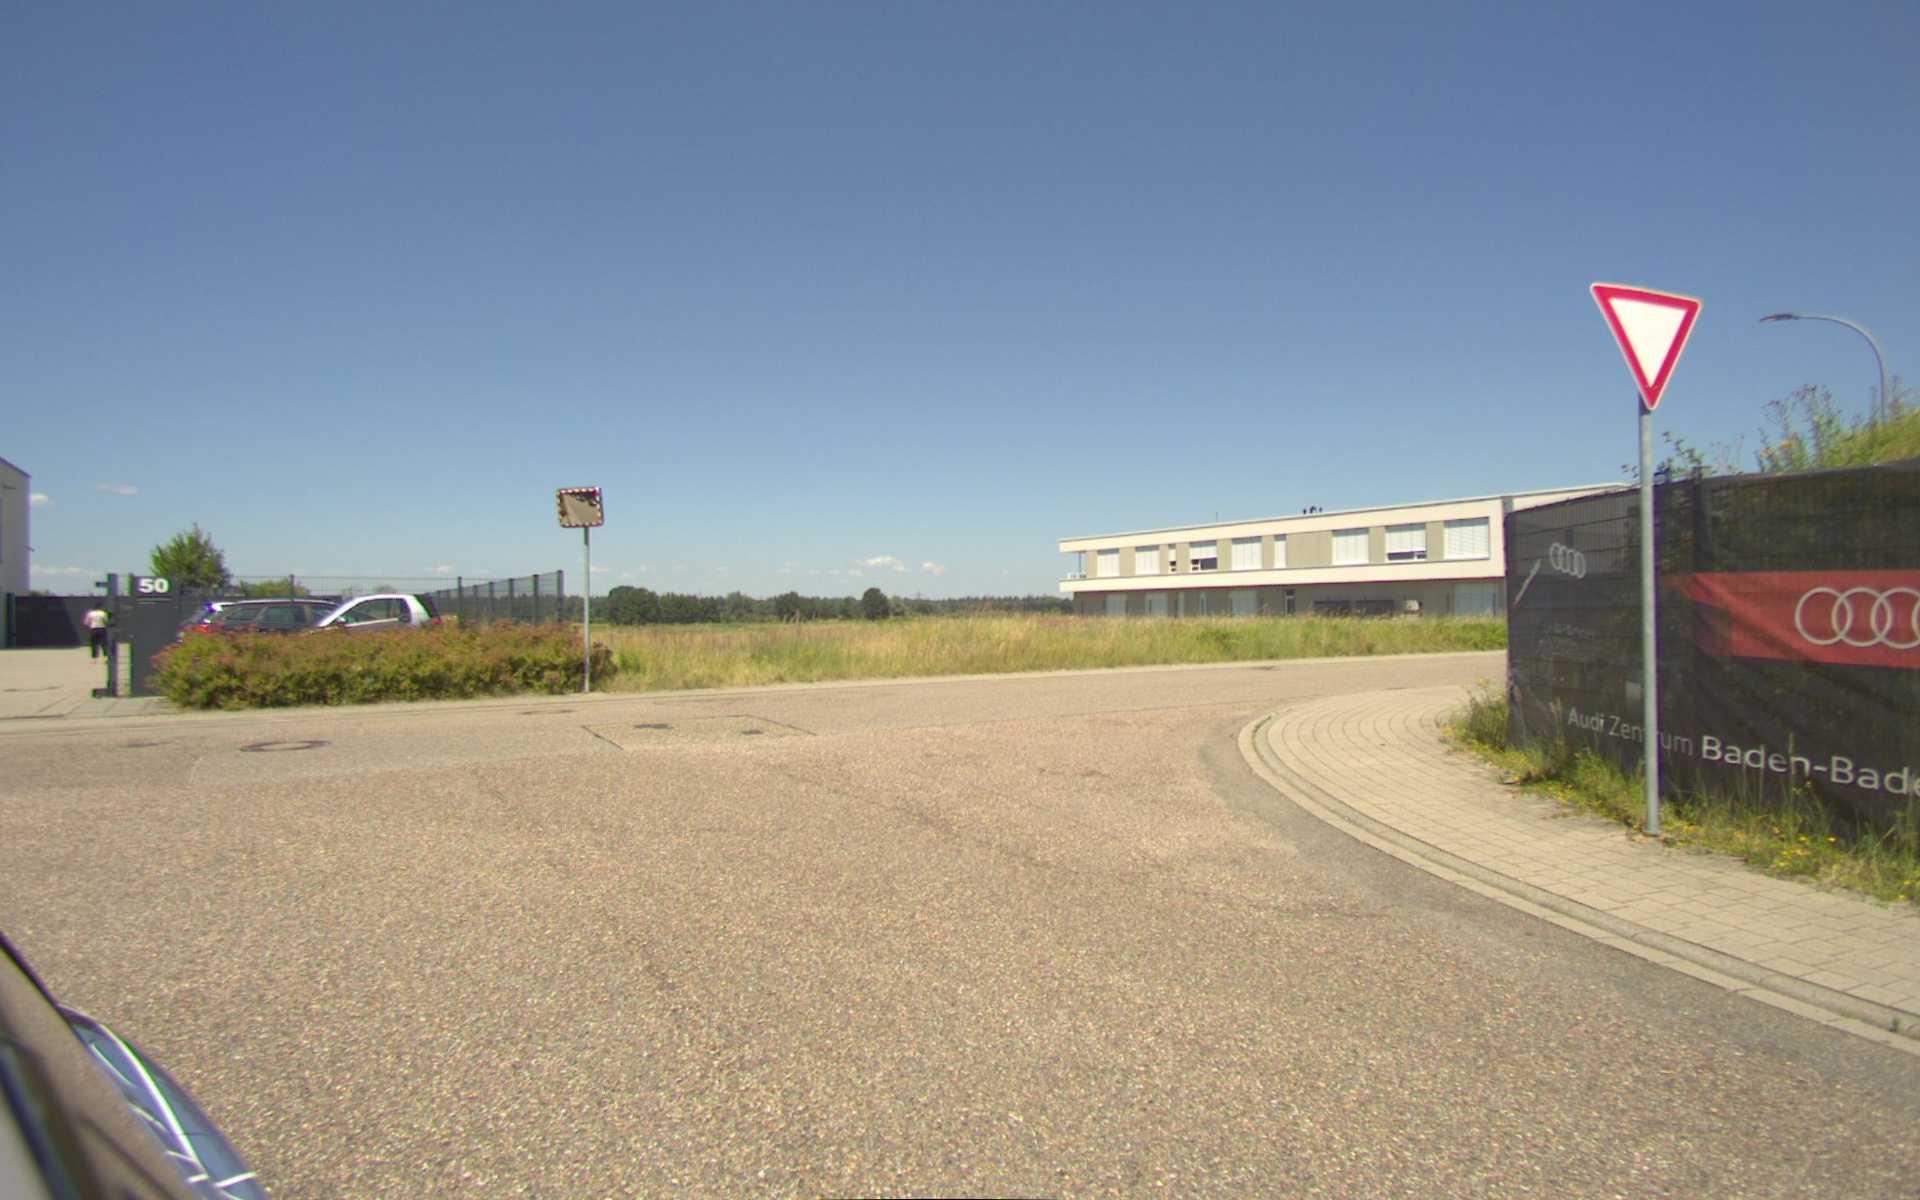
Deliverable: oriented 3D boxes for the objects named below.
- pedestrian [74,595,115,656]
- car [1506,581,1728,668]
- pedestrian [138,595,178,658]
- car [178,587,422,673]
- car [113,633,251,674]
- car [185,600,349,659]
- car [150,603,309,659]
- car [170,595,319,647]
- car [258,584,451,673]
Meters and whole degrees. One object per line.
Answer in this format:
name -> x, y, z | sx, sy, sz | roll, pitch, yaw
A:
pedestrian -> -23.689, 0.690, 27.703 | 0.621, 1.641, 0.764 | -1, -1, 42
car -> 12.248, 0.447, 18.835 | 3.932, 1.459, 1.919 | 0, -3, -32
pedestrian -> -22.111, 0.726, 27.896 | 0.817, 1.695, 0.713 | 0, -1, -42
car -> -13.077, 0.555, 20.179 | 3.935, 1.553, 1.835 | 0, -1, -37
car -> -28.939, 1.961, 37.813 | 3.933, 1.320, 2.005 | 0, -1, -34
car -> -20.488, 0.836, 30.011 | 3.935, 1.617, 1.681 | 0, -1, -37
car -> -22.663, 0.916, 31.497 | 3.935, 1.617, 1.681 | 0, -1, -37
car -> -23.501, 0.659, 33.339 | 3.935, 1.617, 1.681 | 0, -1, -37
car -> -11.284, 0.496, 18.895 | 2.949, 1.532, 1.709 | 0, -1, -37
